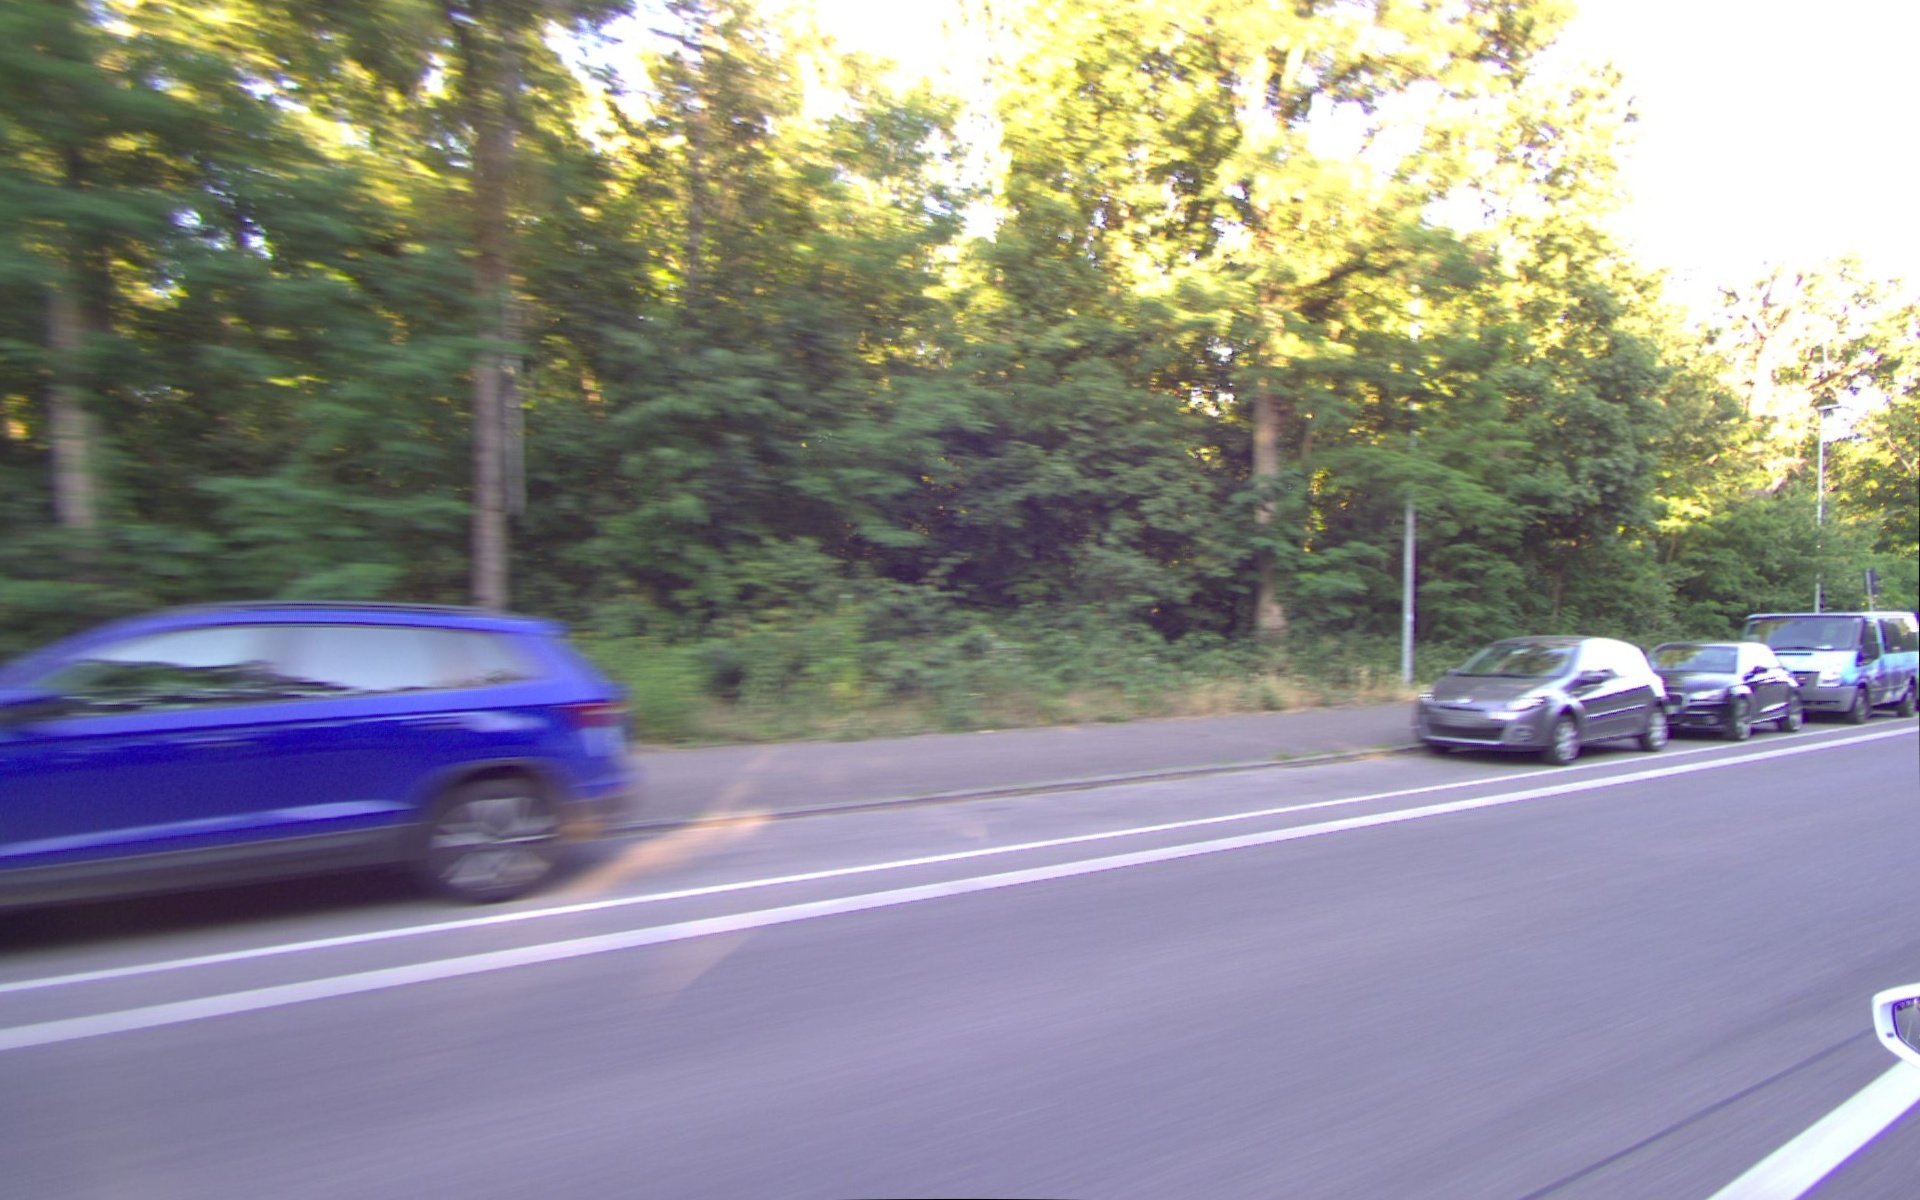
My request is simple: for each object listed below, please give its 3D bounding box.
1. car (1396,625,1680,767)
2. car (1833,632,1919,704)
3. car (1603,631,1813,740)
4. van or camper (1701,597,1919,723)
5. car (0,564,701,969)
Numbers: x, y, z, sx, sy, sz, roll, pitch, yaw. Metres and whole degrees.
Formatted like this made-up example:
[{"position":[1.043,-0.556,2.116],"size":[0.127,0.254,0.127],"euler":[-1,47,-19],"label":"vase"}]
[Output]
[{"position":[7.421,1.117,12.780],"size":[4.000,1.554,1.606],"euler":[1,-3,-35],"label":"car"},{"position":[21.301,1.475,22.521],"size":[4.202,1.481,1.676],"euler":[1,-3,-36],"label":"car"},{"position":[11.738,1.250,15.685],"size":[3.934,1.513,1.532],"euler":[1,-3,-36],"label":"car"},{"position":[16.407,1.094,19.209],"size":[4.962,2.121,2.019],"euler":[1,-3,-34],"label":"van or camper"},{"position":[-3.876,0.759,5.500],"size":[4.473,1.734,1.736],"euler":[1,-3,-32],"label":"car"}]
